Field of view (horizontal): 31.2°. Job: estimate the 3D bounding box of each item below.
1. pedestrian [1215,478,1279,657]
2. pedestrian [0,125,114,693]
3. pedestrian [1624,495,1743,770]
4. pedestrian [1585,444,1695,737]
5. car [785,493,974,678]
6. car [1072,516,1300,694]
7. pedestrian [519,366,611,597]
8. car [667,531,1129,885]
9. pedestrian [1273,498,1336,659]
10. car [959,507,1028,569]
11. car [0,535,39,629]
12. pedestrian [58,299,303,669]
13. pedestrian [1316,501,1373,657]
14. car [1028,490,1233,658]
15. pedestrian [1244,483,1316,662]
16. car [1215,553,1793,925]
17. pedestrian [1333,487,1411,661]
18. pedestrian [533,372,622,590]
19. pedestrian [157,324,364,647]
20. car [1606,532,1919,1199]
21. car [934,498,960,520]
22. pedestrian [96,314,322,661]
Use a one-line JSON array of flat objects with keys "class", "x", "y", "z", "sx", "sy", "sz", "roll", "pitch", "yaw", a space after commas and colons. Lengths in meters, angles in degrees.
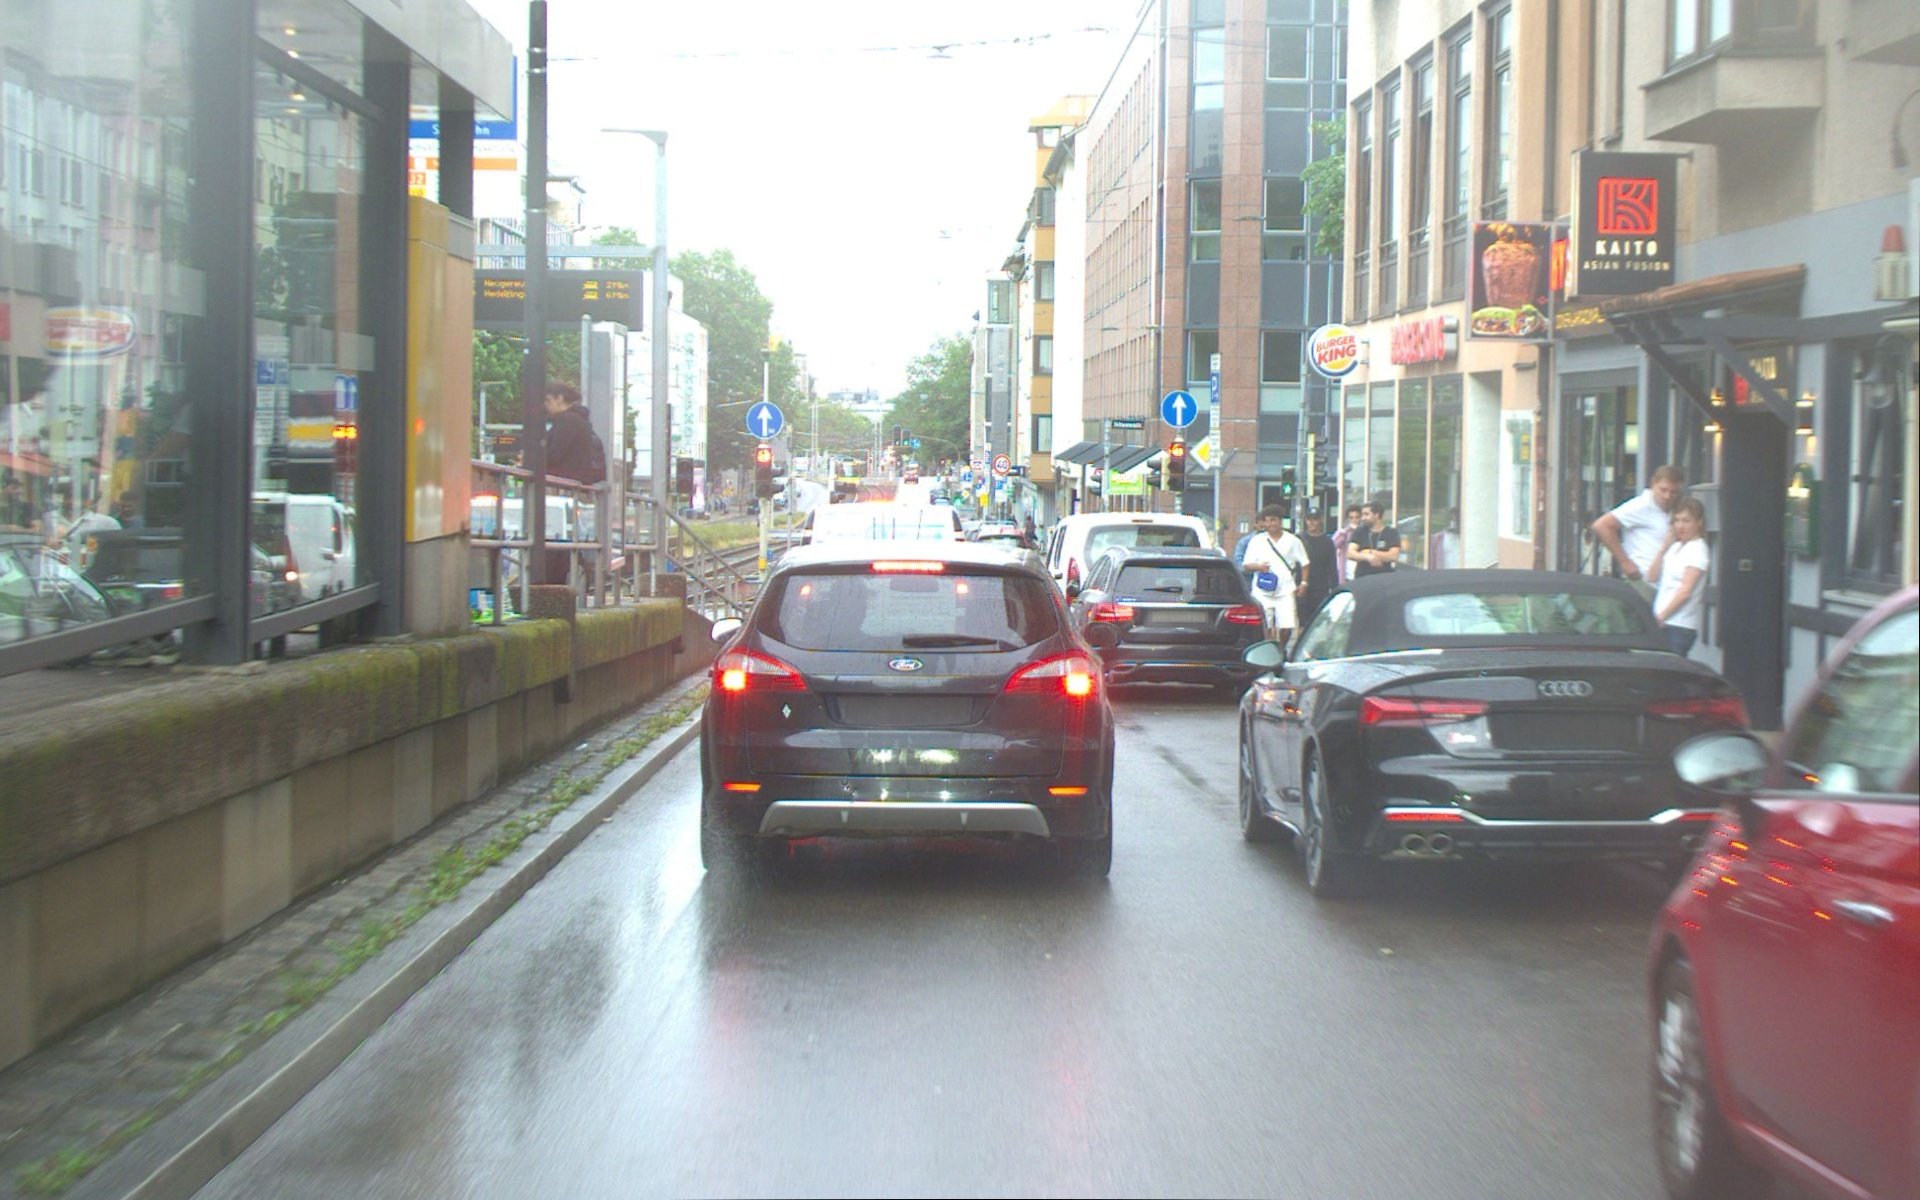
[{"class": "pedestrian", "x": 3.147, "y": -0.357, "z": 37.730, "sx": 0.651, "sy": 1.941, "sz": 0.533, "roll": 0, "pitch": 1, "yaw": 1}, {"class": "pedestrian", "x": -3.190, "y": -0.583, "z": 10.757, "sx": 0.916, "sy": 1.718, "sz": 0.701, "roll": -1, "pitch": 1, "yaw": -3}, {"class": "pedestrian", "x": 4.496, "y": 0.192, "z": 21.372, "sx": 0.544, "sy": 1.675, "sz": 0.596, "roll": -1, "pitch": 1, "yaw": -8}, {"class": "pedestrian", "x": 4.357, "y": -0.066, "z": 22.052, "sx": 0.528, "sy": 1.852, "sz": 0.557, "roll": -1, "pitch": 1, "yaw": -8}, {"class": "car", "x": -0.819, "y": -0.195, "z": 36.897, "sx": 1.906, "sy": 1.858, "sz": 4.574, "roll": 0, "pitch": 1, "yaw": 0}, {"class": "car", "x": 2.117, "y": 0.002, "z": 33.353, "sx": 1.906, "sy": 1.610, "sz": 4.414, "roll": 0, "pitch": 1, "yaw": 0}, {"class": "pedestrian", "x": -2.775, "y": -0.830, "z": 24.202, "sx": 0.583, "sy": 1.604, "sz": 0.701, "roll": -1, "pitch": 1, "yaw": -3}, {"class": "car", "x": -0.263, "y": 0.412, "z": 15.899, "sx": 1.906, "sy": 1.457, "sz": 3.445, "roll": 0, "pitch": 1, "yaw": 0}, {"class": "pedestrian", "x": 3.685, "y": -0.234, "z": 36.764, "sx": 0.610, "sy": 1.708, "sz": 0.581, "roll": 0, "pitch": 1, "yaw": 1}, {"class": "car", "x": 0.865, "y": -1.594, "z": 88.143, "sx": 1.698, "sy": 1.474, "sz": 3.867, "roll": -2, "pitch": 1, "yaw": 1}, {"class": "car", "x": -14.511, "y": -0.266, "z": 49.589, "sx": 1.638, "sy": 1.333, "sz": 3.736, "roll": 0, "pitch": 1, "yaw": -3}, {"class": "pedestrian", "x": -2.817, "y": -0.416, "z": 12.479, "sx": 0.728, "sy": 1.297, "sz": 0.701, "roll": -1, "pitch": 1, "yaw": -1}, {"class": "pedestrian", "x": 4.258, "y": -0.237, "z": 38.061, "sx": 0.576, "sy": 1.708, "sz": 0.477, "roll": 0, "pitch": 1, "yaw": 1}, {"class": "car", "x": 1.879, "y": -0.325, "z": 39.282, "sx": 1.906, "sy": 1.800, "sz": 4.778, "roll": 0, "pitch": 1, "yaw": -2}, {"class": "pedestrian", "x": 3.349, "y": -0.294, "z": 36.029, "sx": 0.695, "sy": 1.848, "sz": 0.652, "roll": 0, "pitch": 1, "yaw": 1}, {"class": "car", "x": 2.335, "y": 0.528, "z": 15.871, "sx": 1.906, "sy": 1.457, "sz": 4.246, "roll": 0, "pitch": 1, "yaw": -1}, {"class": "pedestrian", "x": 4.344, "y": -0.281, "z": 36.276, "sx": 0.756, "sy": 1.813, "sz": 0.588, "roll": 0, "pitch": 1, "yaw": 1}, {"class": "pedestrian", "x": -2.767, "y": -0.858, "z": 24.909, "sx": 0.583, "sy": 1.552, "sz": 0.701, "roll": -1, "pitch": 1, "yaw": -3}, {"class": "pedestrian", "x": -2.885, "y": -0.468, "z": 14.228, "sx": 0.728, "sy": 1.297, "sz": 0.701, "roll": -1, "pitch": 1, "yaw": -3}, {"class": "car", "x": 2.392, "y": 0.600, "z": 6.594, "sx": 1.645, "sy": 1.457, "sz": 3.414, "roll": 0, "pitch": 1, "yaw": 0}, {"class": "car", "x": -1.001, "y": -6.850, "z": 259.161, "sx": 1.906, "sy": 1.627, "sz": 4.574, "roll": 0, "pitch": 1, "yaw": 0}, {"class": "pedestrian", "x": -2.878, "y": -0.429, "z": 13.233, "sx": 0.728, "sy": 1.297, "sz": 0.701, "roll": -1, "pitch": 1, "yaw": -3}]
